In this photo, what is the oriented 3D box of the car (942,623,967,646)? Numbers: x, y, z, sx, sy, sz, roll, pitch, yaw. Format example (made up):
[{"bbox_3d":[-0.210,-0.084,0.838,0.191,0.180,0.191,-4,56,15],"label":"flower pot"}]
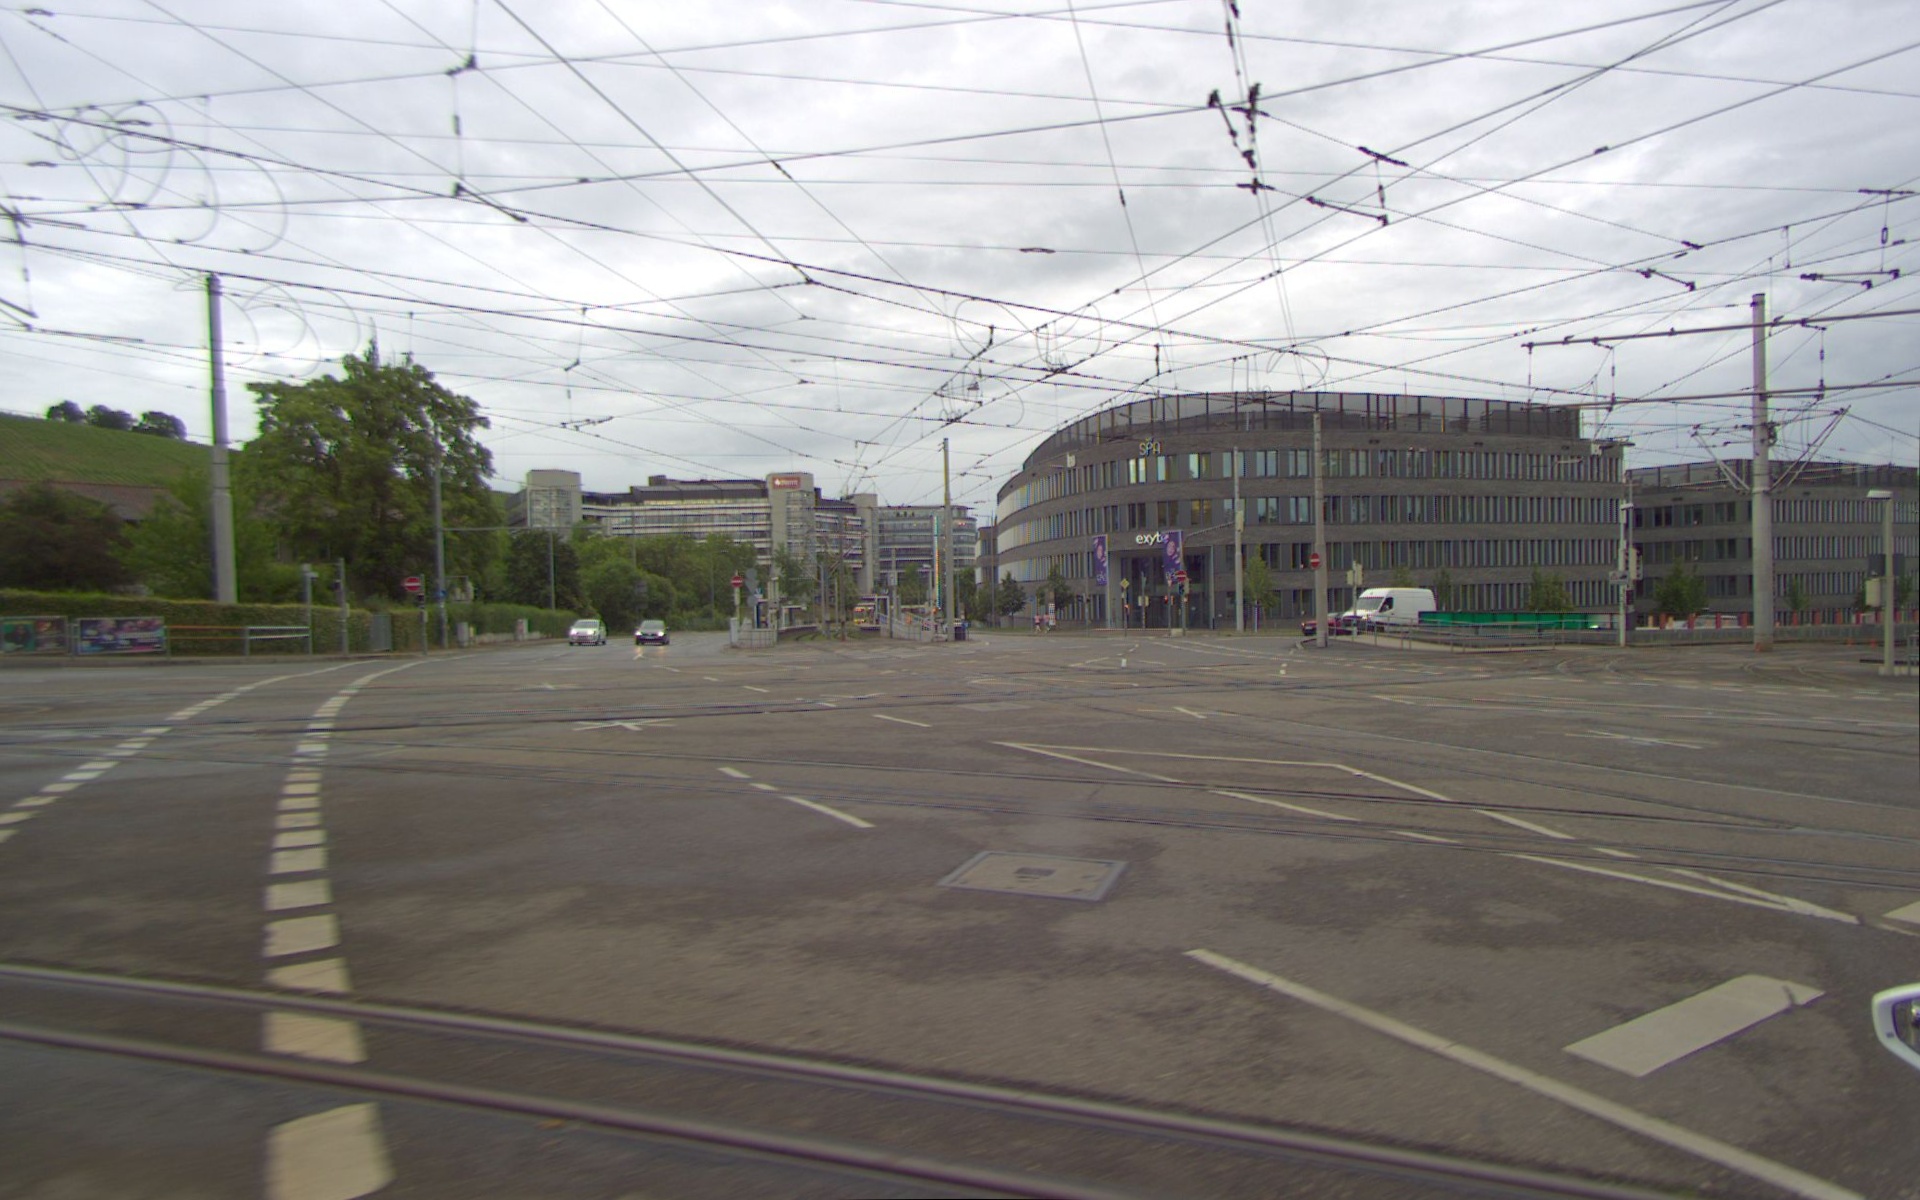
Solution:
[{"bbox_3d":[-0.522,3.233,93.979,1.962,2.040,3.998,3,-2,-4],"label":"car"}]

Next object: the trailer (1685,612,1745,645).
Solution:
[{"bbox_3d":[52.715,1.963,70.116,4.224,2.101,1.817,4,-2,-30],"label":"trailer"}]

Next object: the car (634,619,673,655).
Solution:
[{"bbox_3d":[-18.596,2.211,61.165,1.966,2.040,3.989,3,-2,-14],"label":"car"}]

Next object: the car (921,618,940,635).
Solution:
[{"bbox_3d":[-3.424,3.089,116.601,1.962,1.839,3.998,3,-2,-4],"label":"car"}]

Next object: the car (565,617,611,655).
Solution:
[{"bbox_3d":[-21.838,2.086,59.087,1.966,2.040,3.989,3,-2,-14],"label":"car"}]

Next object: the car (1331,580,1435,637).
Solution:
[{"bbox_3d":[22.607,0.521,53.628,5.647,2.868,1.986,1,-3,-29],"label":"car"}]

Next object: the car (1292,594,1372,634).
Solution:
[{"bbox_3d":[20.978,0.792,56.659,4.195,2.181,1.985,0,-1,-29],"label":"car"}]
